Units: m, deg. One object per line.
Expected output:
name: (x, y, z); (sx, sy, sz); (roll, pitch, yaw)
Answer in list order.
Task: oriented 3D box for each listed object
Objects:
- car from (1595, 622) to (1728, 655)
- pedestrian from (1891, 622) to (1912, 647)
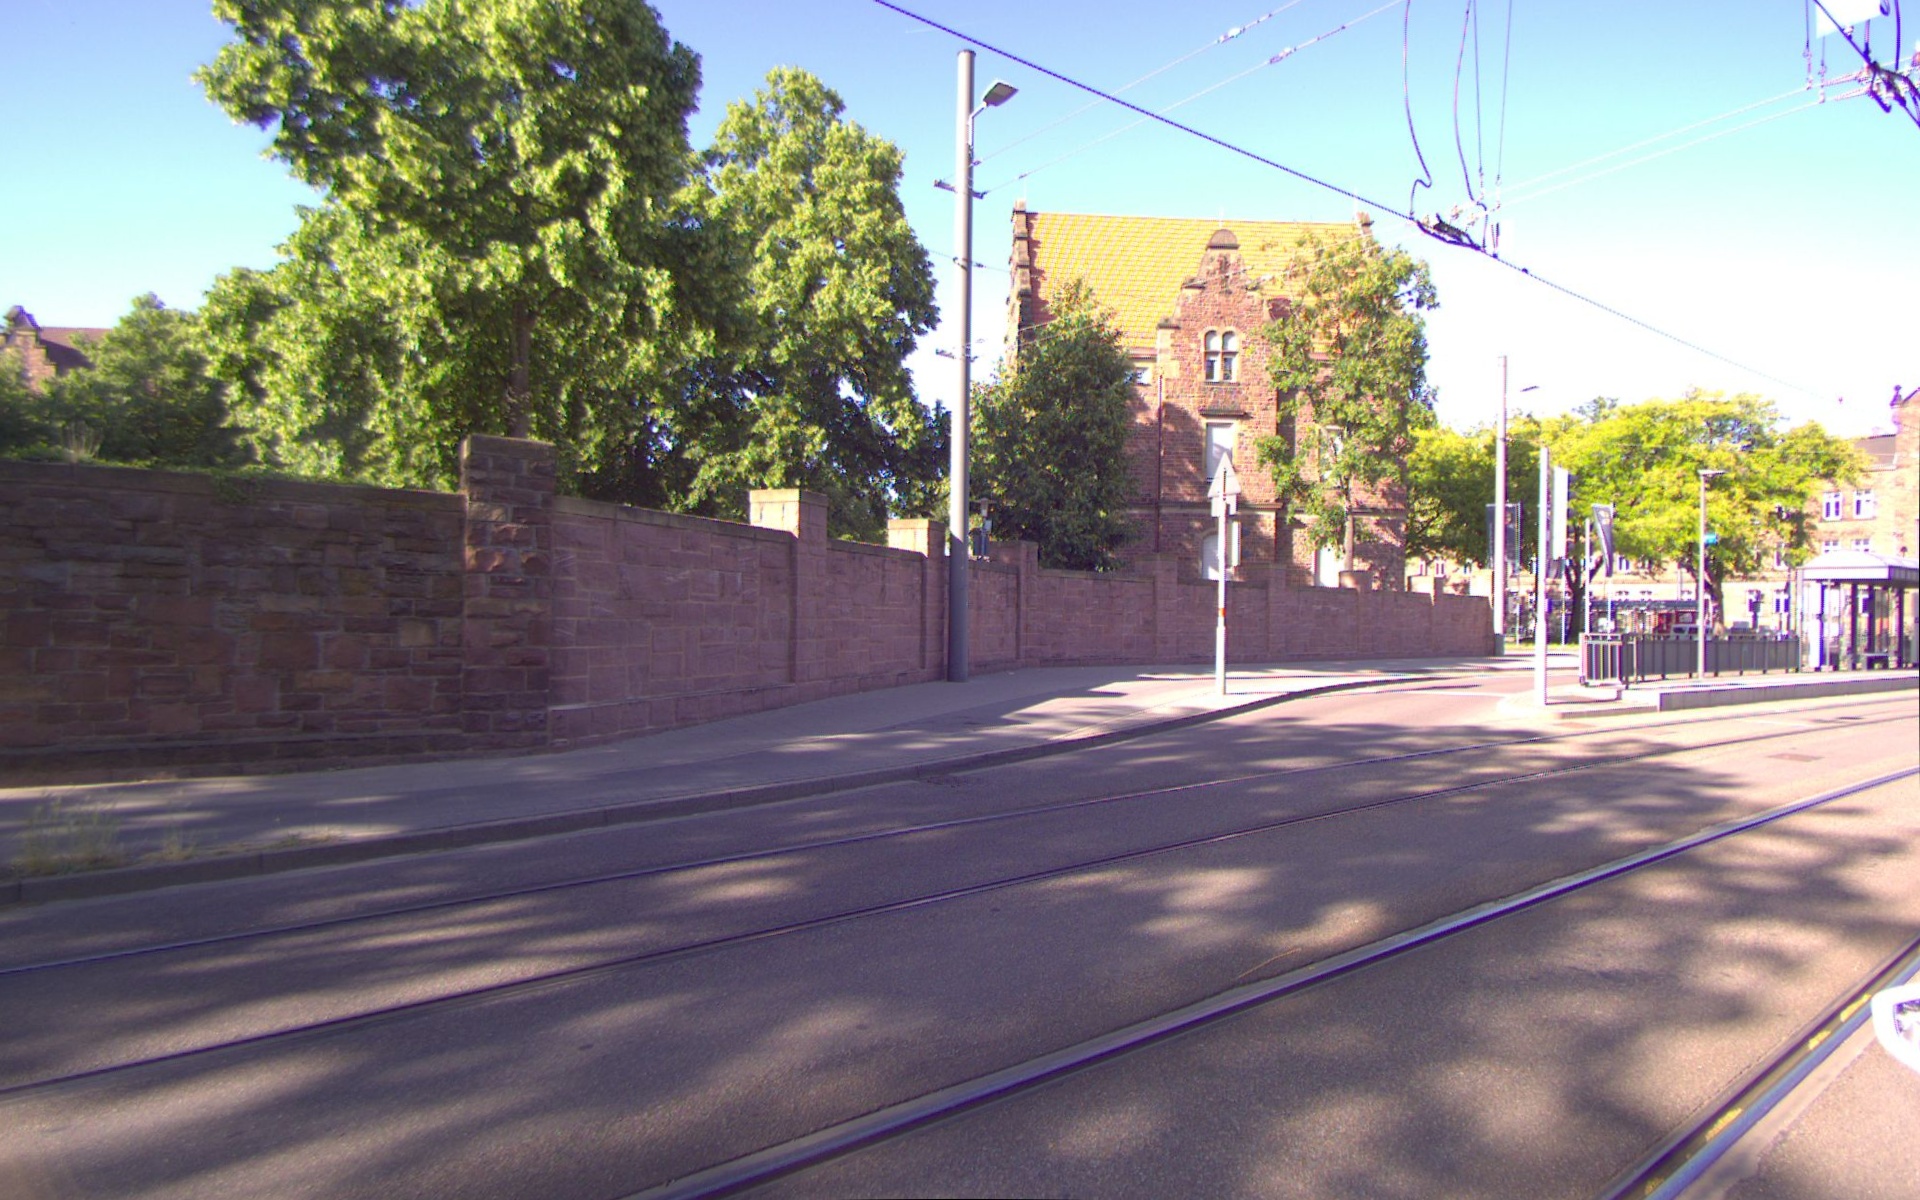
car: (47.923, 2.593, 68.800); (2.957, 1.946, 6.915); (1, -1, -30)
pedestrian: (64.239, 2.350, 68.534); (0.798, 1.609, 0.923); (2, 0, -41)
